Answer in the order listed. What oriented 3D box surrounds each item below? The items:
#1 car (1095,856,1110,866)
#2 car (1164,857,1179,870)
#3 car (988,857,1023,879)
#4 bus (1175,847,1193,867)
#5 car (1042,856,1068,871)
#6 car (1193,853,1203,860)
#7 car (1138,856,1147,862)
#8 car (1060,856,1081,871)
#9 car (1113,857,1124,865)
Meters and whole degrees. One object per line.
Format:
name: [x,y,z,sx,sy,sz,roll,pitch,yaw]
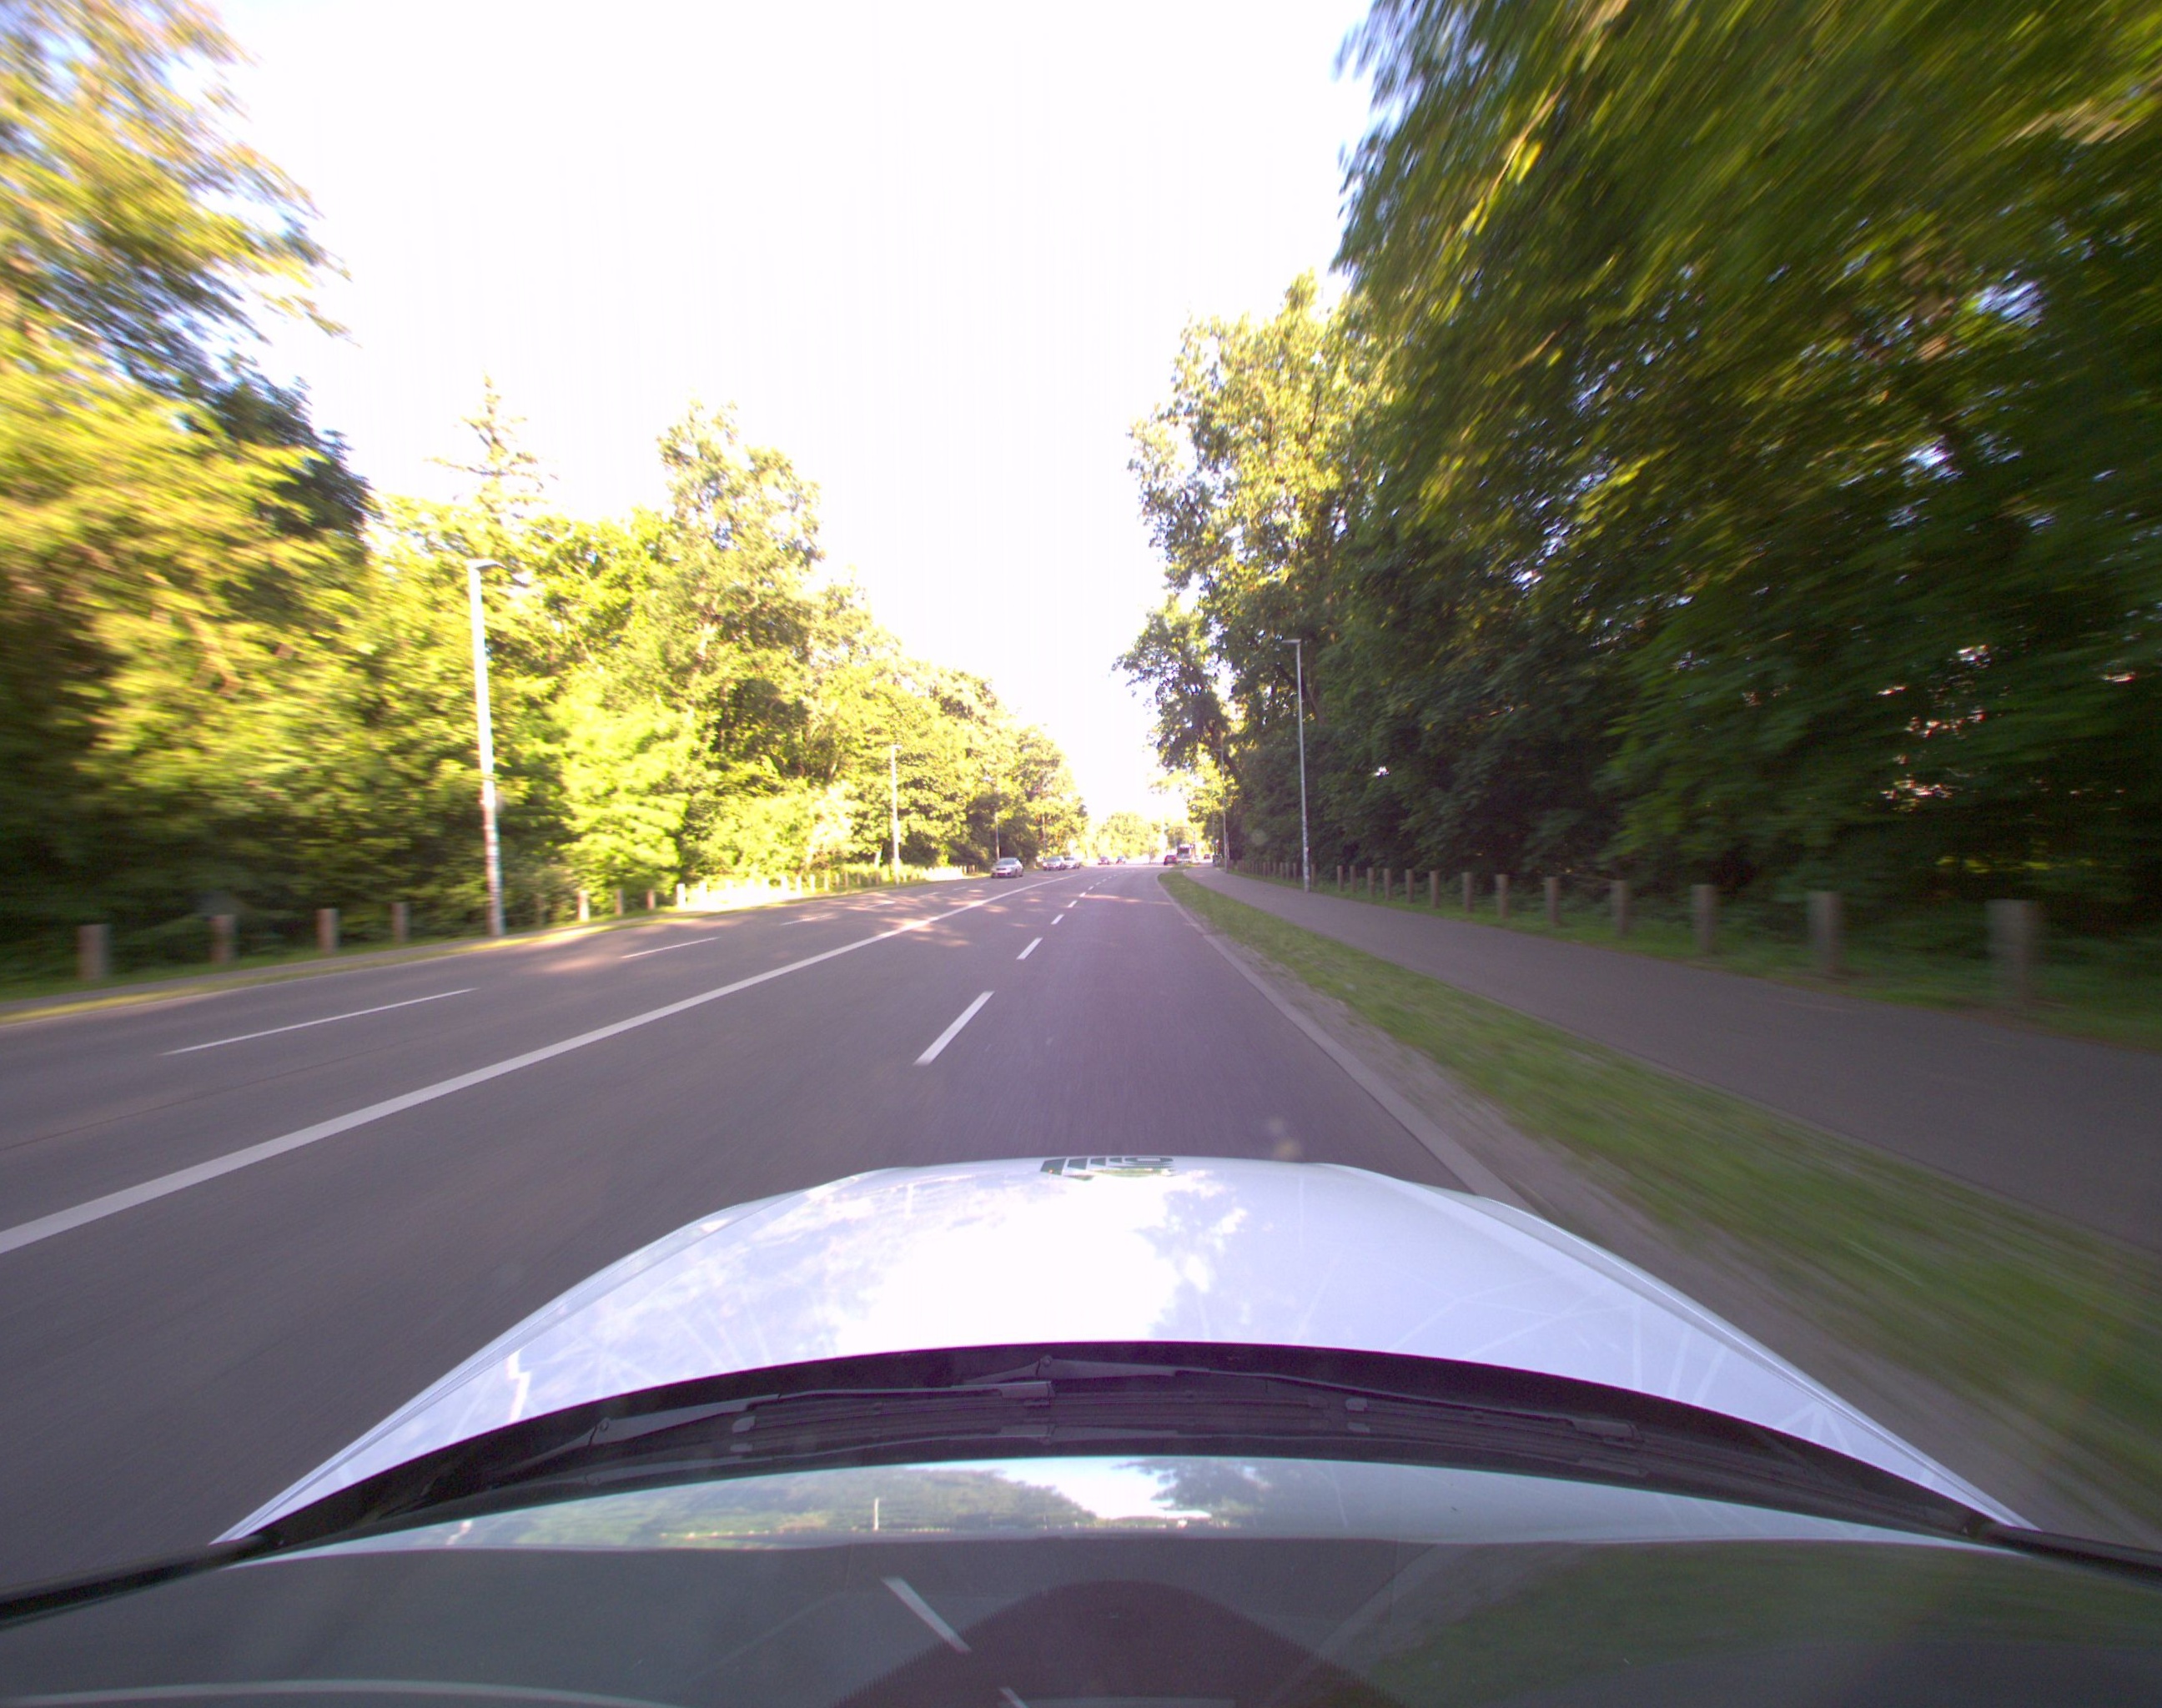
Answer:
car: [3.377,1.129,127.250,1.652,1.518,3.818,-2,0,10]
car: [13.000,1.316,116.731,1.868,1.765,4.011,-2,0,10]
car: [-5.279,0.970,57.213,1.771,1.408,4.170,-1,1,4]
bus: [17.836,0.528,140.705,2.589,3.368,7.997,-1,0,10]
car: [-2.616,0.970,82.494,1.769,1.464,4.286,-1,-1,10]
car: [26.572,0.554,185.211,1.849,1.684,3.787,-3,-1,14]
car: [14.490,1.233,191.347,1.700,1.464,4.111,0,0,9]
car: [-1.143,1.041,91.850,1.773,1.522,4.406,-2,0,7]
car: [6.949,1.291,151.722,1.646,1.508,4.009,-2,0,8]
